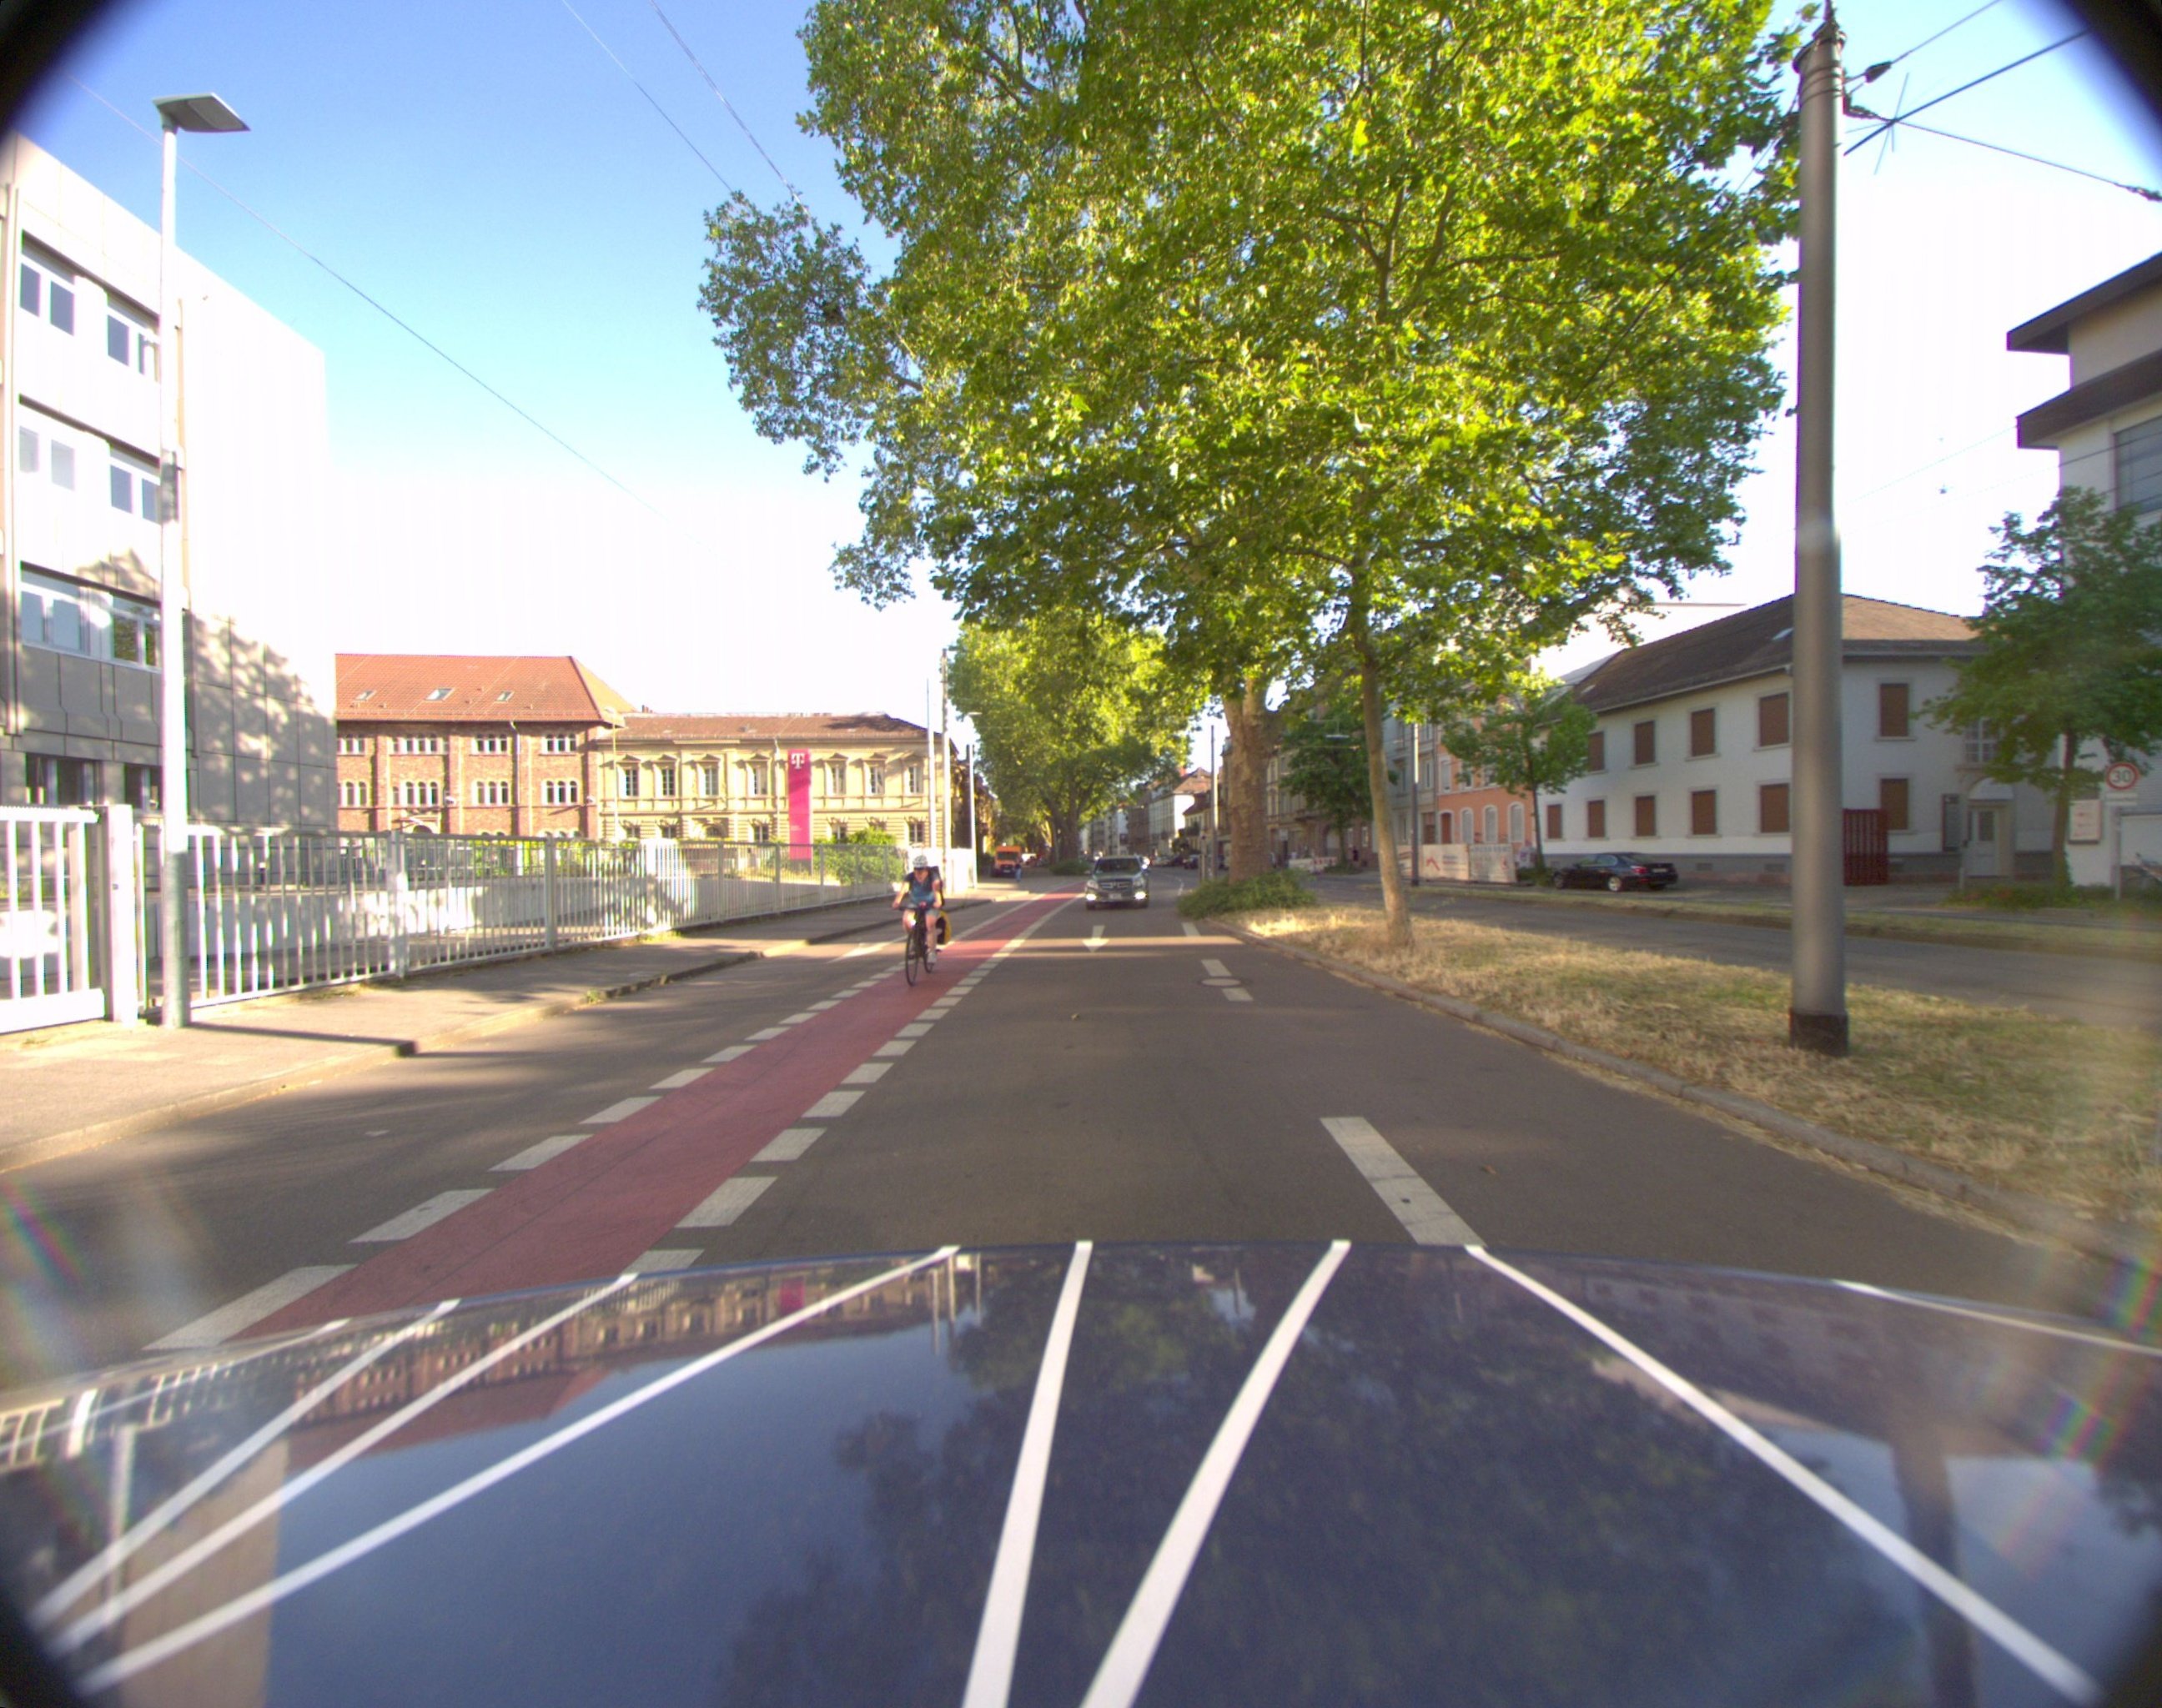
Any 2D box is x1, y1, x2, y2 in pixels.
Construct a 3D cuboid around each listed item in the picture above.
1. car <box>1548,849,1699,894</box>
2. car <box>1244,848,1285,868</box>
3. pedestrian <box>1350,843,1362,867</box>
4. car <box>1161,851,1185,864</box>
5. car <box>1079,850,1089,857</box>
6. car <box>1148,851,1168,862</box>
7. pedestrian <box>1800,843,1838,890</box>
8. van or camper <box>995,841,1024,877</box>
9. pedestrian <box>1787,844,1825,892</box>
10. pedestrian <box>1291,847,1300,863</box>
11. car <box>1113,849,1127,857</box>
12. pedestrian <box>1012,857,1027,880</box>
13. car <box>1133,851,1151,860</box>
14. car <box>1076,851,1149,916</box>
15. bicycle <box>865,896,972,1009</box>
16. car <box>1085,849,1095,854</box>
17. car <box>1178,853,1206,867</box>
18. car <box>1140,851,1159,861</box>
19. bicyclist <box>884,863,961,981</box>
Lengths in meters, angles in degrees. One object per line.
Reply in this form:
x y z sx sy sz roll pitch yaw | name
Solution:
20.525 0.616 29.047 2.088 1.462 4.576 -4 1 -7 | car
16.887 0.362 70.174 2.088 1.664 4.530 -4 1 -7 | car
21.406 0.067 59.219 0.562 1.798 0.704 -1 1 -11 | pedestrian
12.755 0.474 105.992 2.088 1.531 5.101 -4 1 -7 | car
0.755 -0.105 187.042 1.999 1.741 3.998 -2 1 -4 | car
11.604 0.367 114.871 2.088 1.531 4.036 -4 1 -7 | car
24.379 0.405 25.098 0.537 1.519 0.711 -1 1 -5 | pedestrian
-5.450 0.353 58.700 1.999 2.578 5.623 -2 1 -4 | van or camper
23.478 0.443 24.622 0.537 1.519 0.711 -1 1 -11 | pedestrian
20.110 0.082 71.230 0.641 1.519 0.615 -1 1 -1 | pedestrian
7.923 -0.145 156.219 2.088 1.531 4.117 -4 1 -7 | car
-3.998 0.951 49.137 0.899 1.464 0.810 -1 1 -1 | pedestrian
10.479 0.250 130.701 2.088 1.531 4.253 -4 1 -7 | car
1.073 0.803 23.261 1.907 1.634 4.518 -3 1 6 | car
-2.020 1.191 9.815 0.764 1.137 2.307 -1 0 3 | bicycle
2.537 -0.698 218.649 2.088 1.531 4.124 -4 1 -7 | car
13.531 0.692 92.917 2.088 1.531 4.513 -4 1 -7 | car
10.808 0.331 120.791 2.088 1.531 4.095 -4 1 -7 | car
-2.030 0.847 9.829 0.727 1.414 0.859 -2 1 3 | bicyclist
